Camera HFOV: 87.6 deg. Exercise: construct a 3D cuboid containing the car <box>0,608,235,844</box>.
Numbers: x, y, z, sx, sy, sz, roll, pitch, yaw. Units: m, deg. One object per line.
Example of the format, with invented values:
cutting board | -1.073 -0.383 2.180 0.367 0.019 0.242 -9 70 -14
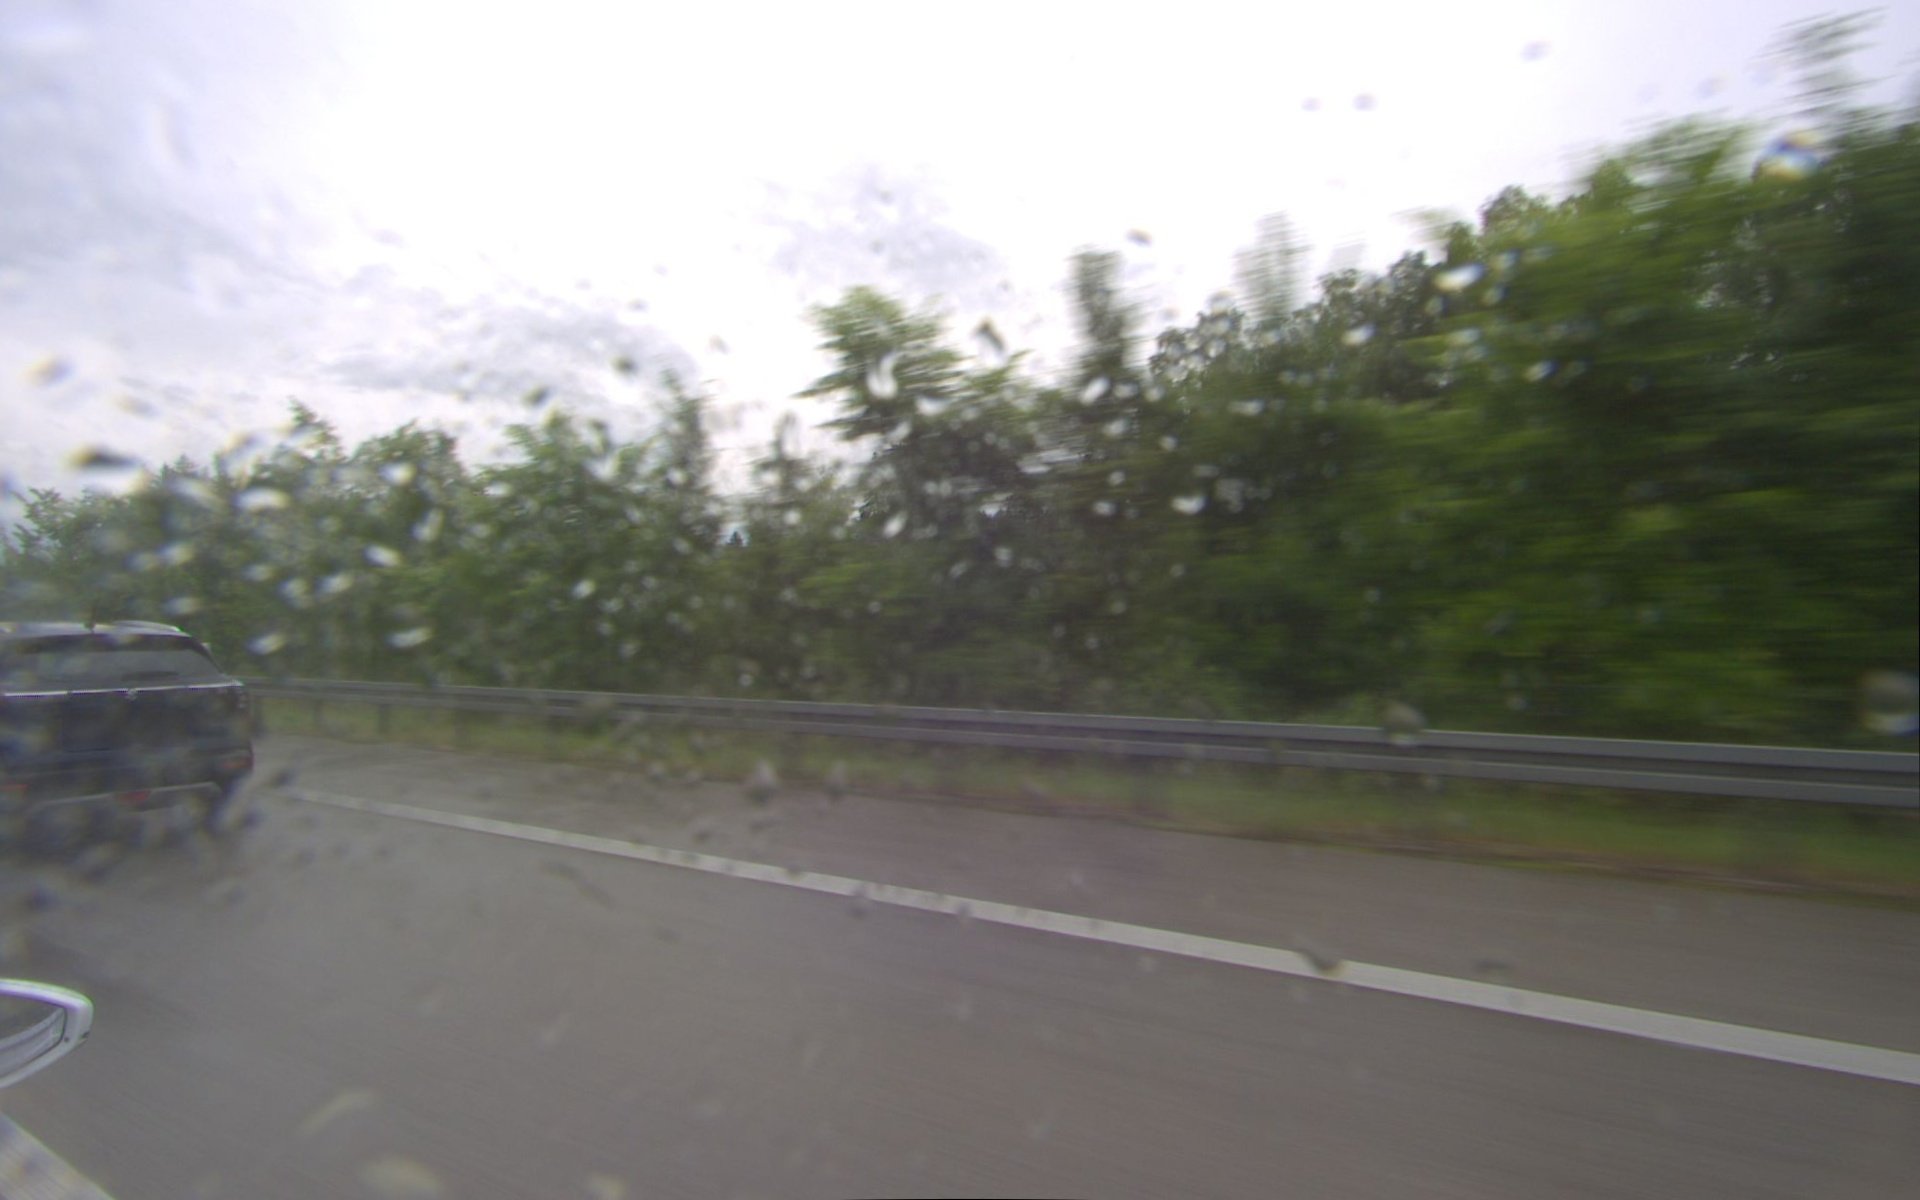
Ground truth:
car | -7.725 0.890 8.107 3.582 1.596 1.890 -1 -2 34
